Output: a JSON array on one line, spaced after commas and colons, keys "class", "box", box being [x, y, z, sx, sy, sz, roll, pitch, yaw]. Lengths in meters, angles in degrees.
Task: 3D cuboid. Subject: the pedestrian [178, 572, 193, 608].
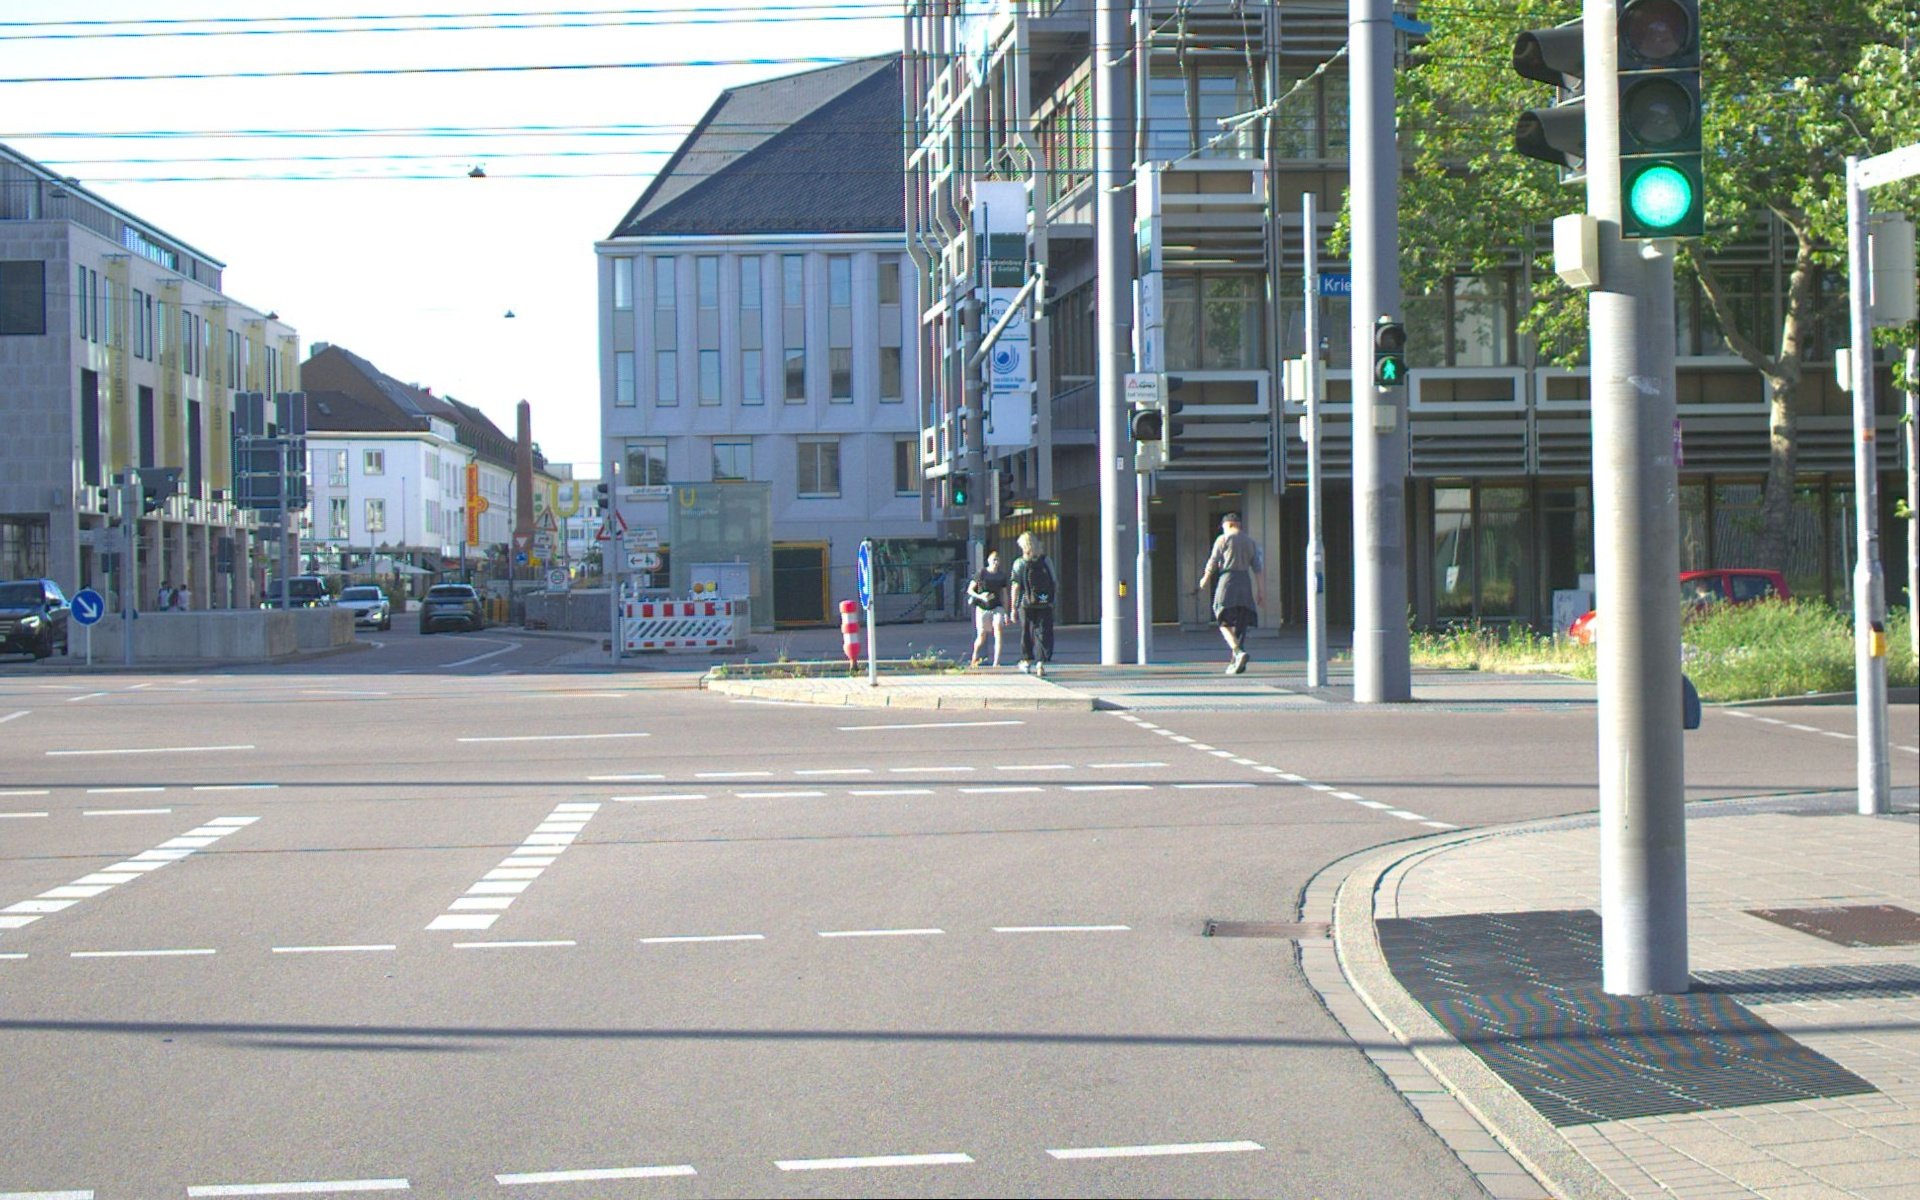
[{"class": "pedestrian", "box": [-29.366, -0.385, 130.374, 0.488, 1.352, 0.564, 1, 0, -6]}]

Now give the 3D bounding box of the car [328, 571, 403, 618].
[{"class": "car", "box": [-22.147, -0.209, 128.310, 2.174, 1.686, 5.616, -1, 0, -4]}]

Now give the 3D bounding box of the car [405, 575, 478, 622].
[{"class": "car", "box": [-16.303, -0.052, 108.239, 1.936, 1.445, 4.263, -1, 0, -4]}]

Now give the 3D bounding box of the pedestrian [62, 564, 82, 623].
[{"class": "pedestrian", "box": [-30.058, -0.227, 116.388, 0.616, 2.007, 0.478, 1, 0, -15]}]

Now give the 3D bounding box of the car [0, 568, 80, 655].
[{"class": "car", "box": [-18.940, 0.218, 68.726, 1.937, 1.672, 4.295, -1, 0, -5]}]

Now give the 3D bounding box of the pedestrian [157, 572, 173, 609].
[{"class": "pedestrian", "box": [-28.781, -0.340, 124.507, 0.488, 1.352, 0.564, 1, 0, -6]}]

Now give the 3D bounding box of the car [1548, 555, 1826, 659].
[{"class": "car", "box": [11.383, 0.121, 53.980, 3.867, 1.481, 1.846, -1, -2, -4]}]

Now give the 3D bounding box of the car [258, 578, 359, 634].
[{"class": "car", "box": [-20.256, 0.186, 107.111, 2.174, 1.686, 5.487, -1, 0, -1]}]

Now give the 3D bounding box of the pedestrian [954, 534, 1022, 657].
[{"class": "pedestrian", "box": [0.431, -0.080, 53.926, 1.011, 1.904, 1.051, -1, 1, -1]}]

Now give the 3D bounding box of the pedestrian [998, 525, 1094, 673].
[{"class": "pedestrian", "box": [0.920, -0.024, 37.007, 0.895, 1.544, 0.924, -1, 2, -7]}]

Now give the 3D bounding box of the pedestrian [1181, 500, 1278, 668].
[{"class": "pedestrian", "box": [2.833, -0.178, 36.211, 0.855, 1.738, 0.739, -1, 1, -8]}]
